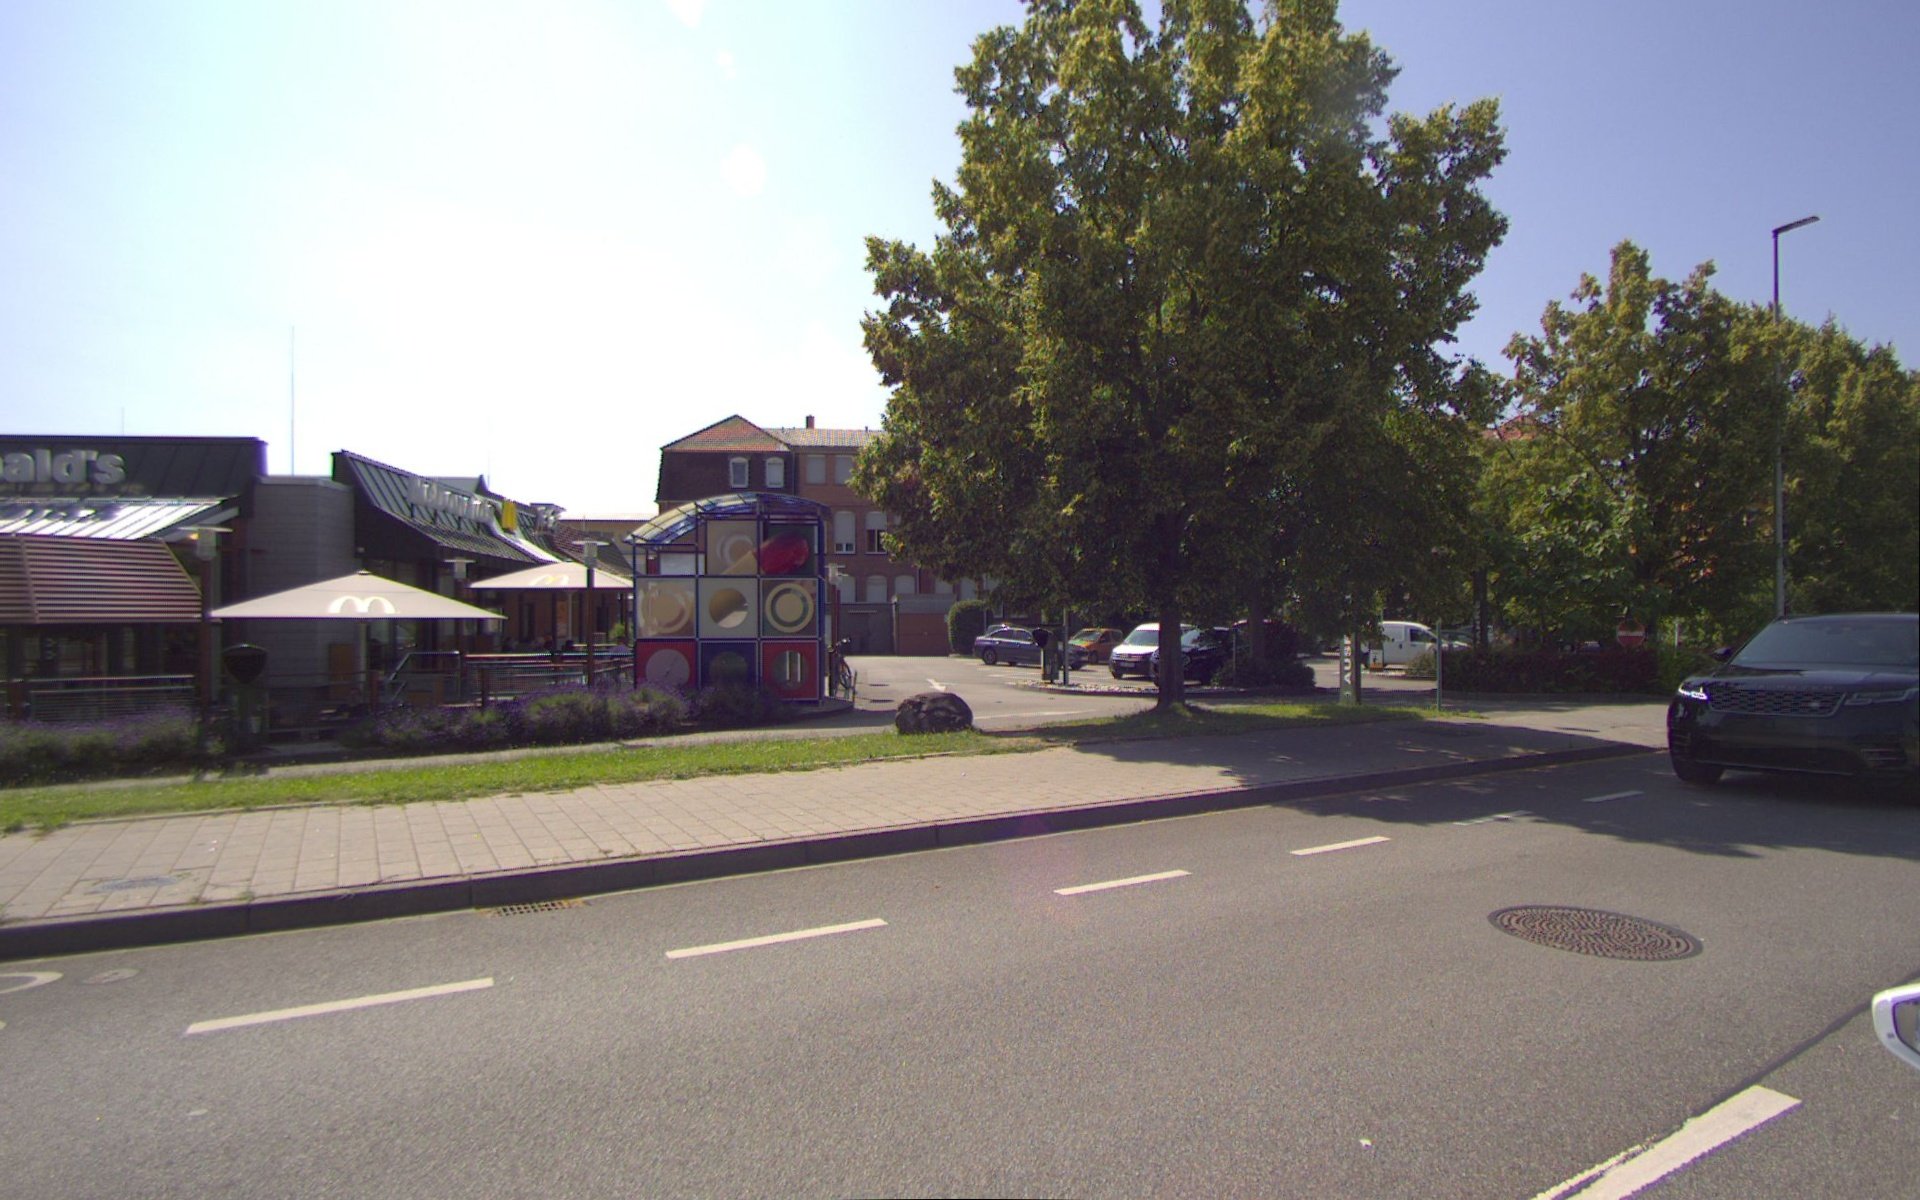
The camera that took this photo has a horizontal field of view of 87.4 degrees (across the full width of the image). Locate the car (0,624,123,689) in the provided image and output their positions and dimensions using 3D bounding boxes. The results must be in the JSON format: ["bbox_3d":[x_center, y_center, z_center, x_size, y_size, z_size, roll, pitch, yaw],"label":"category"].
[{"bbox_3d":[-23.881,1.407,25.153,4.133,1.572,1.853,0,-2,-26],"label":"car"}]

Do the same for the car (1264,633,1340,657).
[{"bbox_3d":[19.831,2.598,58.252,3.932,1.356,1.581,-1,-2,33],"label":"car"}]

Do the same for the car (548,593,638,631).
[{"bbox_3d":[-21.669,0.710,59.517,4.720,2.206,1.996,0,-1,-12],"label":"car"}]

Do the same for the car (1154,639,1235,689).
[{"bbox_3d":[6.988,1.847,29.724,1.578,1.303,3.997,-1,-2,24],"label":"car"}]

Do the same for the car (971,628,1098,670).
[{"bbox_3d":[2.767,1.802,37.580,4.318,1.457,1.995,-1,-2,33],"label":"car"}]

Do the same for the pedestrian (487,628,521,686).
[{"bbox_3d":[-12.024,1.484,26.476,0.744,1.493,0.829,0,-1,-30],"label":"pedestrian"}]

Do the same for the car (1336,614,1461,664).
[{"bbox_3d":[18.844,1.658,43.242,4.667,2.040,2.079,-1,-2,34],"label":"car"}]

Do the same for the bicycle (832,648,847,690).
[{"bbox_3d":[-3.010,1.707,25.101,0.302,1.005,1.858,0,-3,-5],"label":"bicycle"}]

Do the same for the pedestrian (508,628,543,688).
[{"bbox_3d":[-11.135,1.471,25.747,0.744,1.493,0.829,0,-1,-30],"label":"pedestrian"}]

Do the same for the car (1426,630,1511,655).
[{"bbox_3d":[30.338,2.505,60.021,4.219,1.457,1.991,-2,-2,39],"label":"car"}]

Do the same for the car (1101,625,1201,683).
[{"bbox_3d":[6.283,1.690,32.762,1.689,1.758,4.236,-1,-2,33],"label":"car"}]

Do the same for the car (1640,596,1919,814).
[{"bbox_3d":[8.875,0.878,10.035,4.566,1.717,1.938,1,-2,-35],"label":"car"}]

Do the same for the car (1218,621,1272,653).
[{"bbox_3d":[14.267,1.856,50.441,1.473,1.546,3.431,0,-1,-5],"label":"car"}]

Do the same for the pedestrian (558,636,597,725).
[{"bbox_3d":[-9.031,1.883,23.711,0.744,2.040,0.829,0,-1,-30],"label":"pedestrian"}]

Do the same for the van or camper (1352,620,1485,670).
[{"bbox_3d":[17.318,1.676,38.048,4.219,1.763,1.991,-2,-2,39],"label":"van or camper"}]

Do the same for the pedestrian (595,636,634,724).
[{"bbox_3d":[-8.216,1.882,23.898,0.744,2.040,0.829,0,-1,-30],"label":"pedestrian"}]
